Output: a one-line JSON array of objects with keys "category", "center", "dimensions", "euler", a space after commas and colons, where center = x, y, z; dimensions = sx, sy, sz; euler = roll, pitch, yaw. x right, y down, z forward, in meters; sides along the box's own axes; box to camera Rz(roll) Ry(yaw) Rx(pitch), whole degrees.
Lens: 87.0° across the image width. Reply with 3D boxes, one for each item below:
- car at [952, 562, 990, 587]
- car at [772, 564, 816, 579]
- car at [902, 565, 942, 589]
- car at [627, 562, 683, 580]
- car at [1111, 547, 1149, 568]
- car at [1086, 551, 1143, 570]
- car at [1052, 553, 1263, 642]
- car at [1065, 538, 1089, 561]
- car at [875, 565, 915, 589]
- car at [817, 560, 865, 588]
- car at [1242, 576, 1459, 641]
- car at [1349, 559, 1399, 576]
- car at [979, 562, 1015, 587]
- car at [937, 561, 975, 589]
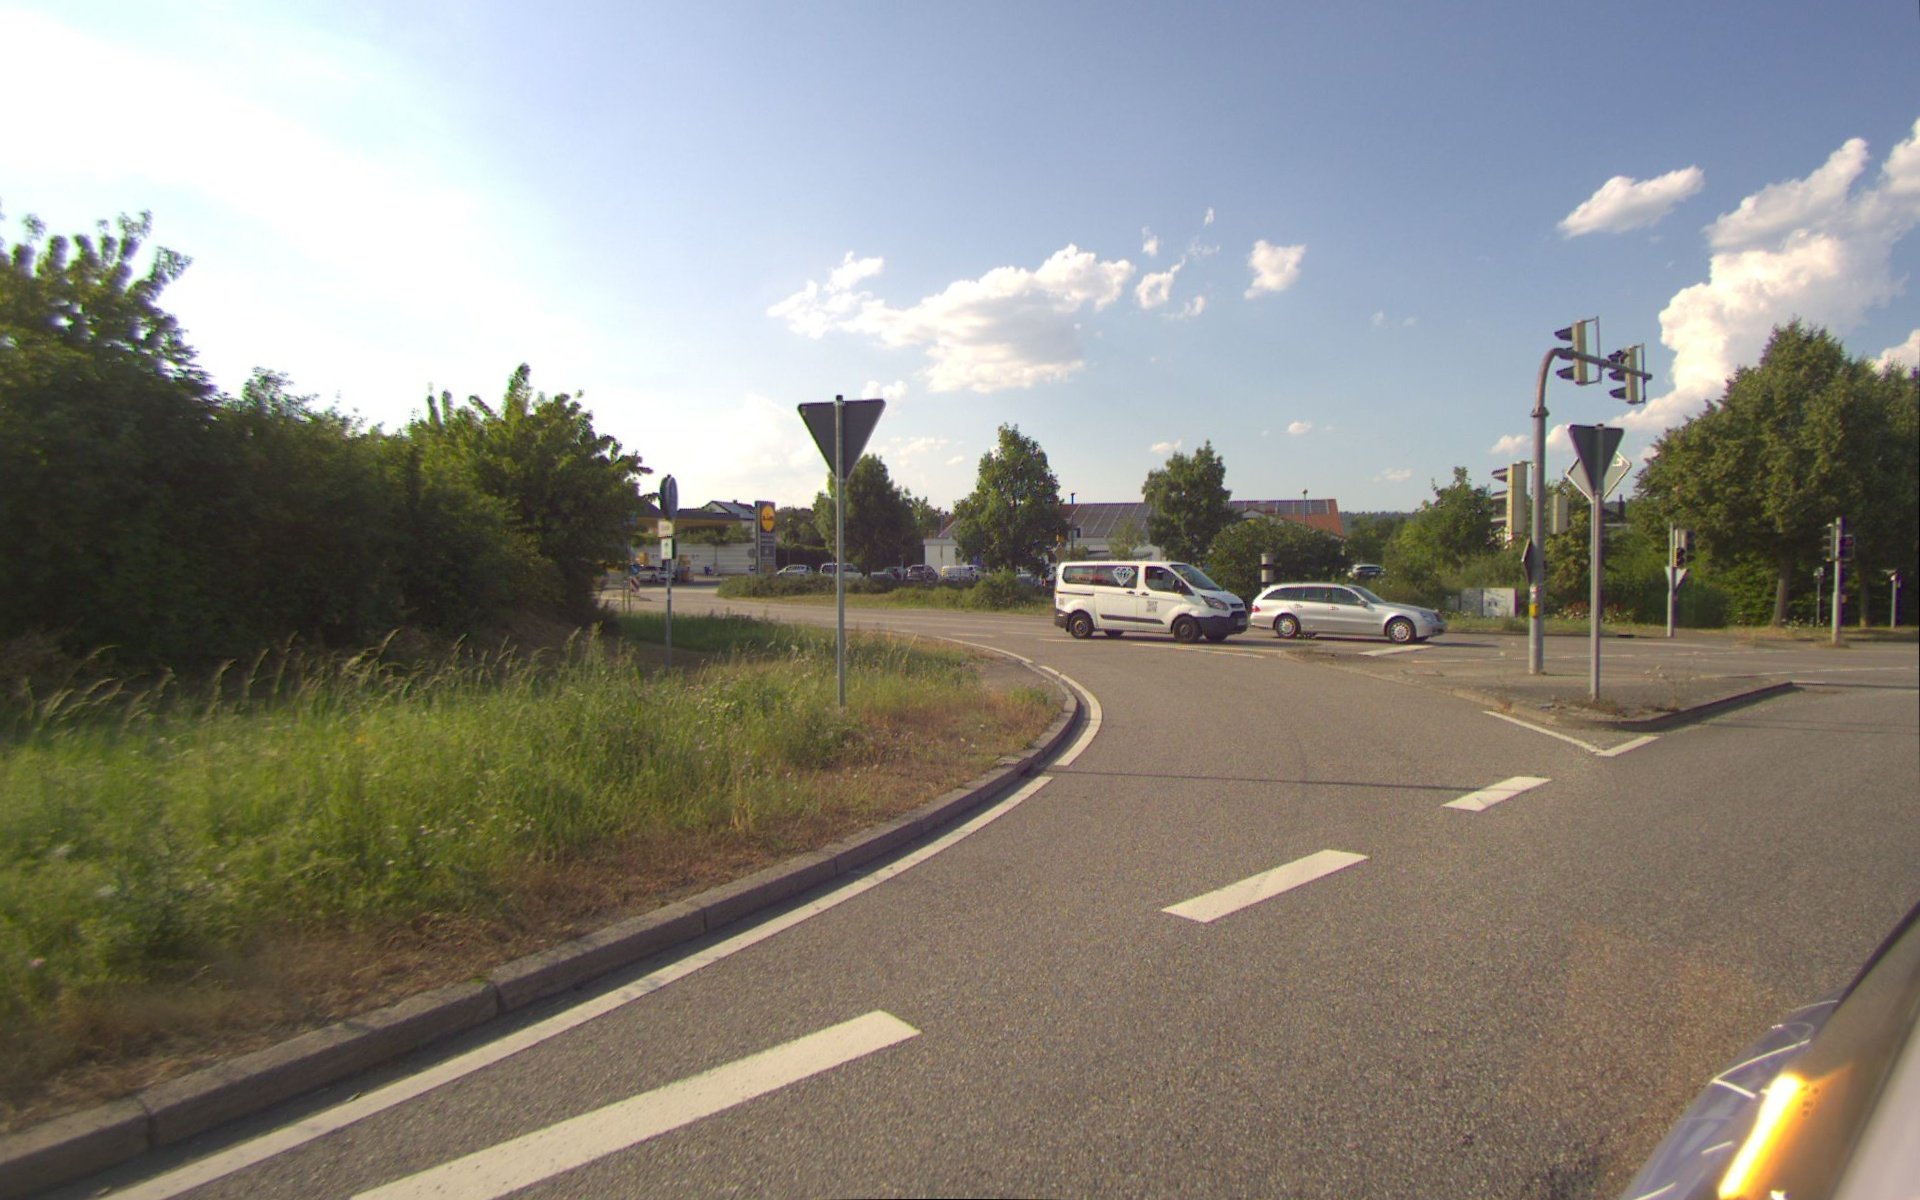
[{"category": "car", "center": [1.037, -2.290, 90.454], "dimensions": [1.974, 2.039, 4.902], "euler": [0, -1, 18]}, {"category": "car", "center": [-16.585, -2.811, 101.395], "dimensions": [3.886, 1.392, 2.008], "euler": [1, 0, 20]}, {"category": "car", "center": [-3.419, -2.037, 92.002], "dimensions": [1.974, 2.039, 4.902], "euler": [0, -1, 18]}, {"category": "car", "center": [-26.548, -2.466, 87.985], "dimensions": [4.829, 1.392, 2.259], "euler": [-1, -1, 38]}, {"category": "car", "center": [15.167, -3.777, 90.139], "dimensions": [3.281, 1.711, 1.683], "euler": [0, 0, 14]}, {"category": "car", "center": [13.332, -3.372, 87.410], "dimensions": [4.723, 1.554, 1.843], "euler": [0, 0, 14]}, {"category": "car", "center": [4.824, -0.124, 25.130], "dimensions": [4.795, 1.972, 1.880], "euler": [3, 2, 39]}, {"category": "car", "center": [10.587, -4.553, 91.392], "dimensions": [1.804, 1.868, 3.772], "euler": [0, 0, 13]}, {"category": "car", "center": [-5.978, -2.051, 93.204], "dimensions": [1.974, 2.039, 4.902], "euler": [0, -1, 18]}, {"category": "car", "center": [-9.524, -2.085, 81.337], "dimensions": [1.974, 2.039, 4.902], "euler": [0, -1, 18]}, {"category": "car", "center": [9.989, 0.201, 26.135], "dimensions": [4.929, 1.533, 1.836], "euler": [0, 0, 40]}, {"category": "car", "center": [36.530, -2.898, 89.420], "dimensions": [3.886, 1.392, 2.008], "euler": [1, 0, 20]}, {"category": "car", "center": [3.350, -2.226, 89.975], "dimensions": [1.974, 2.039, 4.644], "euler": [0, -1, 18]}, {"category": "car", "center": [-0.283, -1.919, 78.659], "dimensions": [1.938, 2.039, 4.639], "euler": [0, 0, 13]}]
